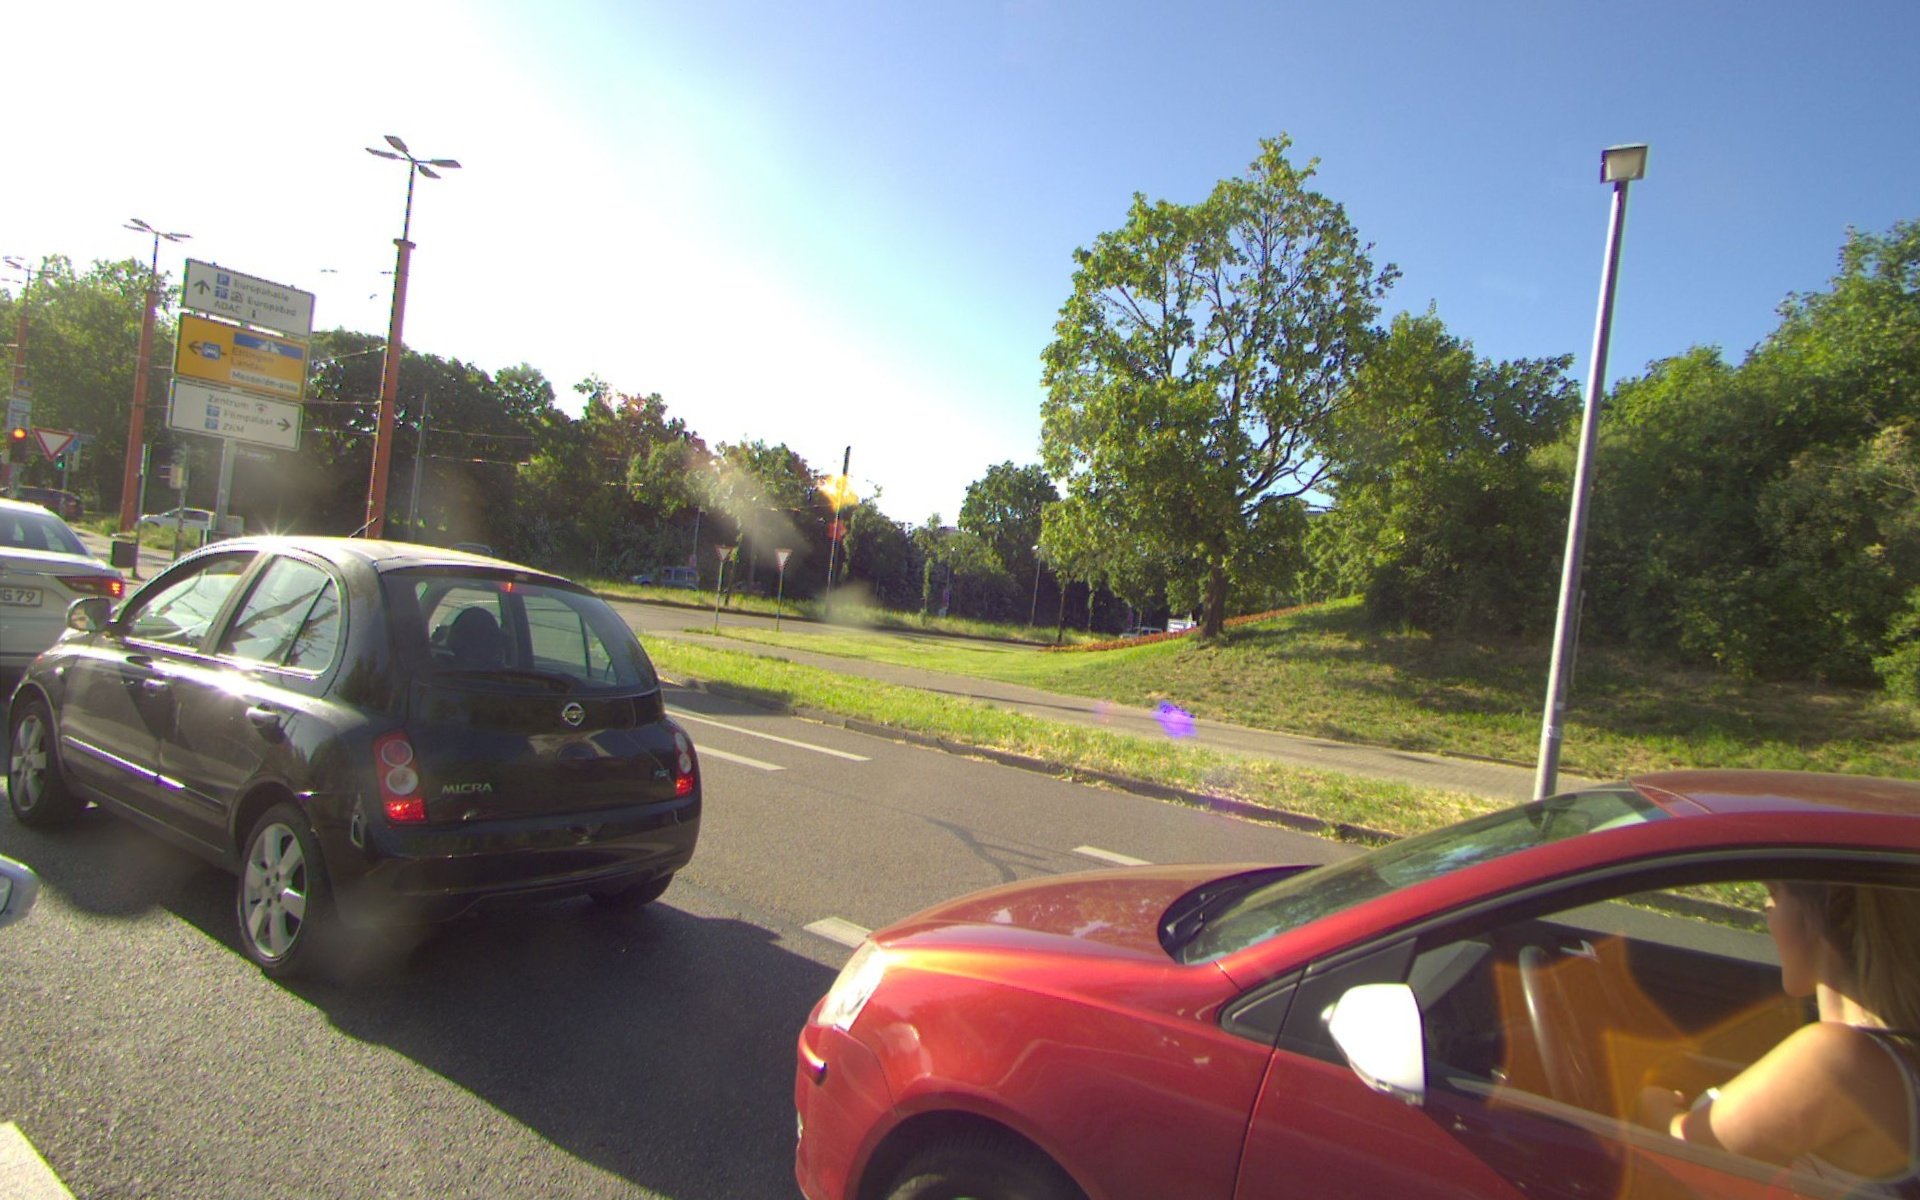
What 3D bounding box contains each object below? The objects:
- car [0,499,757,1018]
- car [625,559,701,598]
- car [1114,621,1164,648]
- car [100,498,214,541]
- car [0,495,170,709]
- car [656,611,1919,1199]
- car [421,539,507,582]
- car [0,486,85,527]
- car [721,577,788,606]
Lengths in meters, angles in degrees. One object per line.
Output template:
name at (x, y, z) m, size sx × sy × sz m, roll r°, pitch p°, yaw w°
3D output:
car at (-2.803, 0.466, 4.624) m, size 3.385 × 1.457 × 1.579 m, roll 6°, pitch -2°, yaw 32°
car at (-18.409, -1.308, 62.461) m, size 4.087 × 1.812 × 1.786 m, roll 8°, pitch -1°, yaw -29°
car at (15.388, 2.992, 86.254) m, size 4.093 × 1.771 × 1.642 m, roll 8°, pitch -1°, yaw -33°
car at (-39.557, -3.920, 49.707) m, size 4.090 × 1.419 × 1.643 m, roll 8°, pitch -1°, yaw -31°
car at (-8.376, -0.176, 8.078) m, size 4.256 × 1.457 × 1.802 m, roll 6°, pitch -2°, yaw 33°
car at (1.340, 1.002, 1.868) m, size 3.629 × 1.477 × 1.579 m, roll 6°, pitch -2°, yaw 32°
car at (-27.976, -2.195, 56.789) m, size 4.089 × 1.812 × 1.785 m, roll 8°, pitch -1°, yaw -30°
car at (-46.047, -4.703, 49.558) m, size 4.088 × 1.489 × 1.644 m, roll 8°, pitch -1°, yaw -30°
car at (-14.104, -0.600, 69.248) m, size 4.093 × 1.419 × 1.642 m, roll 8°, pitch -1°, yaw -33°
